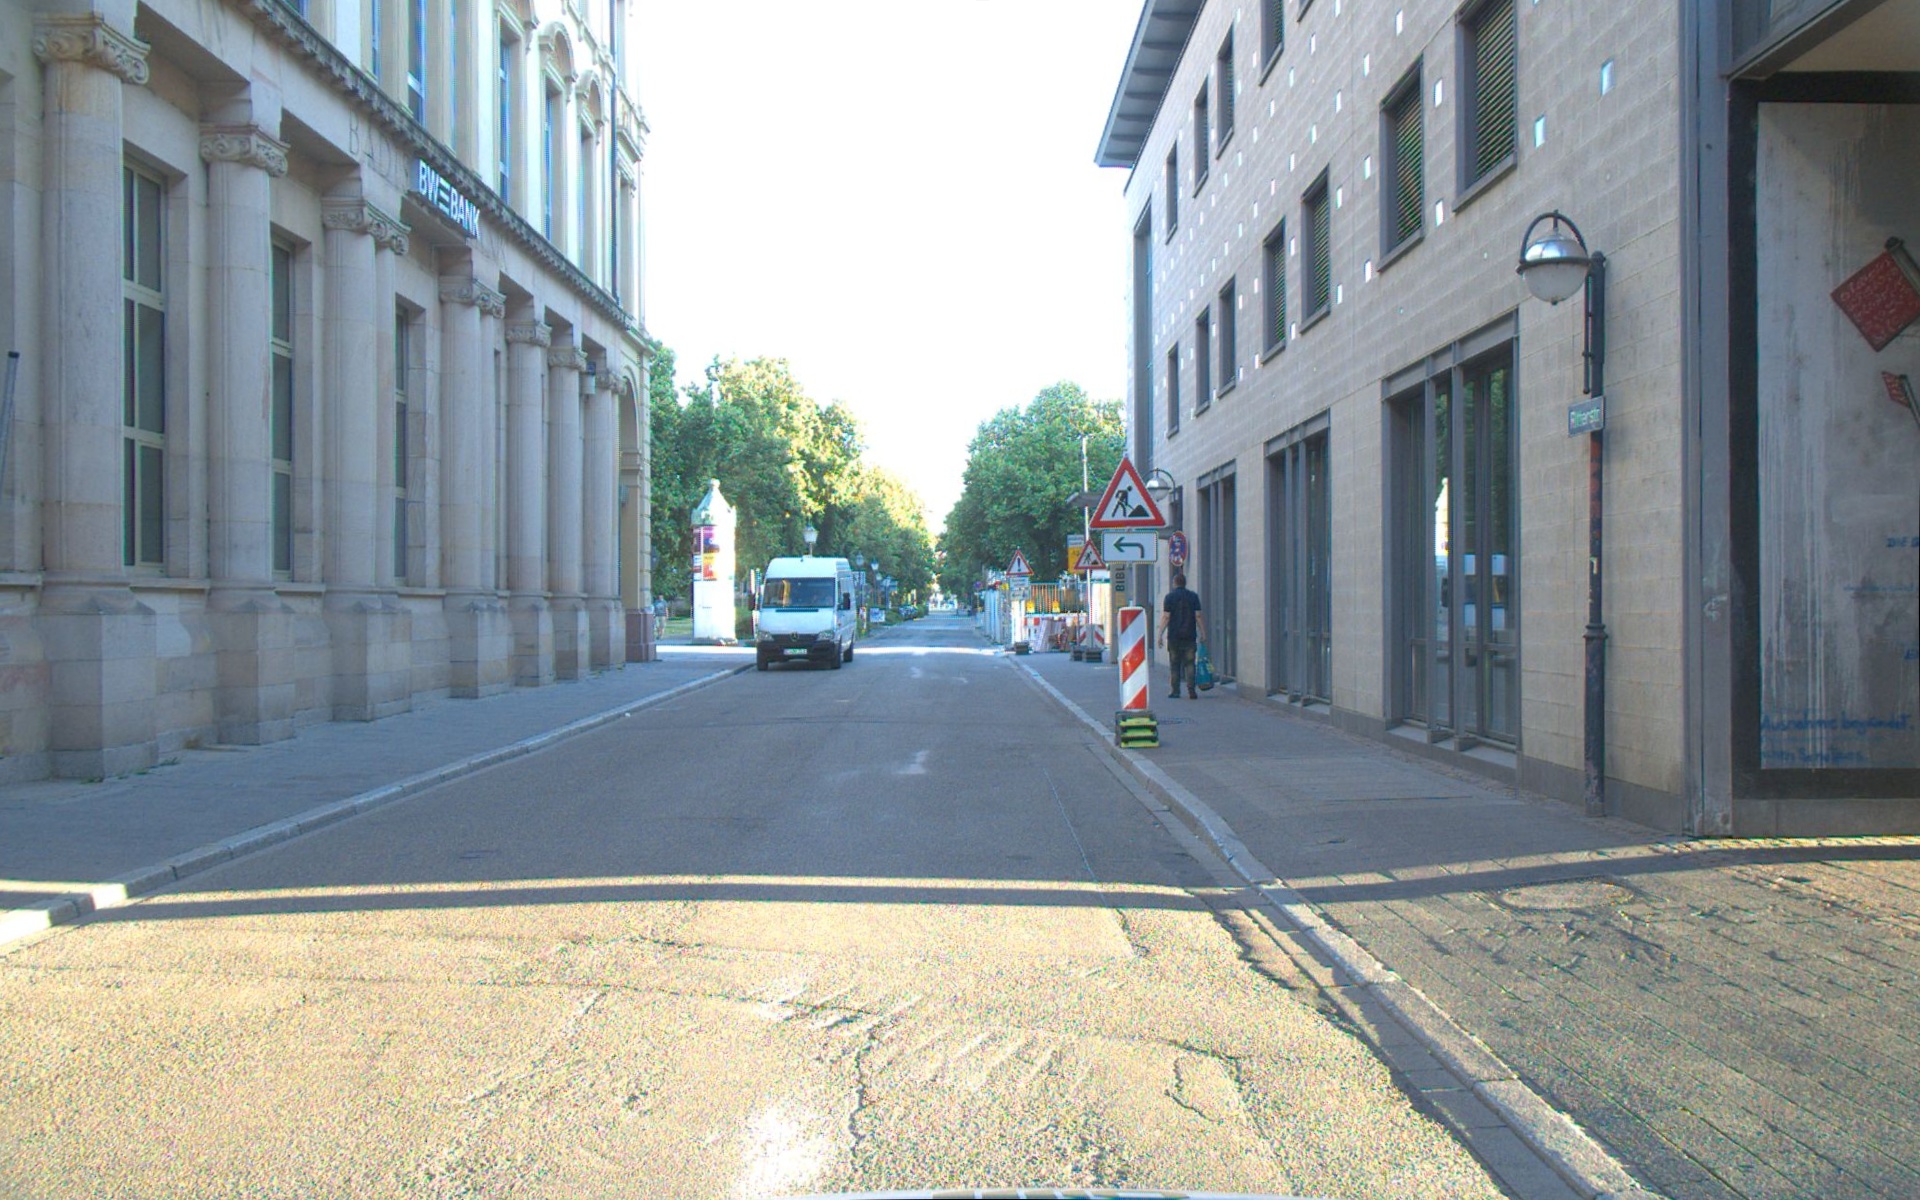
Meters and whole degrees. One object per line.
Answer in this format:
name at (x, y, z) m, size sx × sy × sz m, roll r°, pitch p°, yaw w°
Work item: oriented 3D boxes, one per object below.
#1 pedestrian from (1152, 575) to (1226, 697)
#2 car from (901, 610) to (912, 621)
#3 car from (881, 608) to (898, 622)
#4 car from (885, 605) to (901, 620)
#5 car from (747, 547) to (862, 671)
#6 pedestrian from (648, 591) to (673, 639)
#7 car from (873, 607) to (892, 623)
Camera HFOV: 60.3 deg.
pedestrian at (3.344, 0.514, 24.207) m, size 0.904 × 1.732 × 0.868 m, roll -1°, pitch 0°, yaw -1°
car at (-6.992, 1.983, 216.255) m, size 1.438 × 1.429 × 3.678 m, roll 0°, pitch 0°, yaw -1°
car at (-6.289, 1.356, 148.556) m, size 1.438 × 1.278 × 3.678 m, roll 0°, pitch 0°, yaw -1°
car at (-6.574, 1.193, 161.637) m, size 1.438 × 1.429 × 3.678 m, roll 0°, pitch 0°, yaw -1°
car at (-3.539, 0.185, 38.872) m, size 1.955 × 2.555 × 6.469 m, roll -4°, pitch 0°, yaw 0°
pedestrian at (-11.165, 0.558, 61.703) m, size 0.730 × 1.732 × 0.703 m, roll -1°, pitch 0°, yaw 6°
car at (-6.370, 1.250, 136.265) m, size 1.438 × 1.278 × 3.678 m, roll 0°, pitch 0°, yaw -1°
